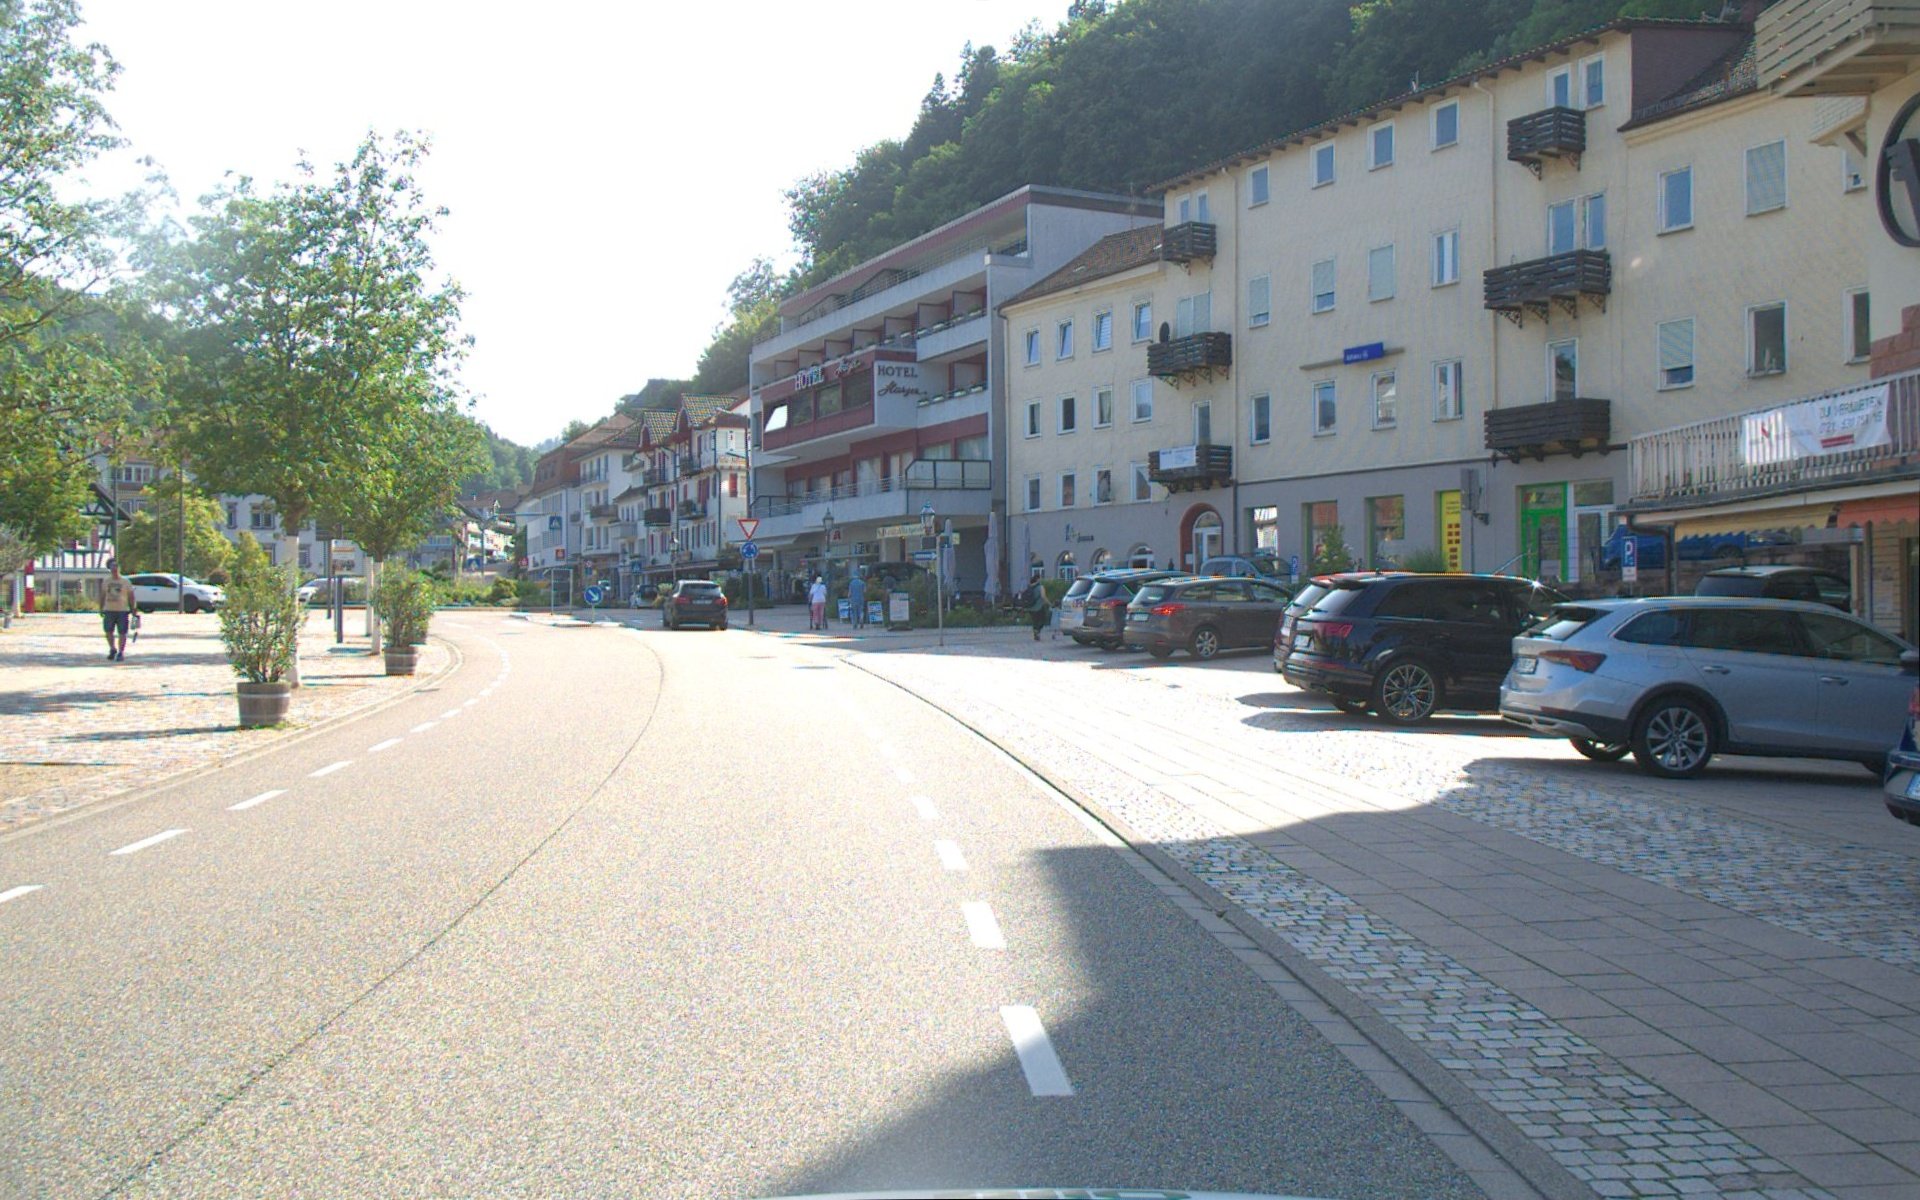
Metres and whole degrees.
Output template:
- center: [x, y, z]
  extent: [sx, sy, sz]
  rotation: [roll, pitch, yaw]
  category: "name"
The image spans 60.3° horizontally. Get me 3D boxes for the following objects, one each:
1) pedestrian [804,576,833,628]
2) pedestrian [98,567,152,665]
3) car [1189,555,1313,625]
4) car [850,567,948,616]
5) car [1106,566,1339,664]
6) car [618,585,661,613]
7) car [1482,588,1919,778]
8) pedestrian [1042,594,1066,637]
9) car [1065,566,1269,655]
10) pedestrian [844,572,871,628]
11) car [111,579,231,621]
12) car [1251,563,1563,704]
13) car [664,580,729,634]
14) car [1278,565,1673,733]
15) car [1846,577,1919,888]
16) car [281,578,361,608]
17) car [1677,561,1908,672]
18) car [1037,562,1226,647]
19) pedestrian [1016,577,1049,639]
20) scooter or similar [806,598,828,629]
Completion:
- center: [-4.501, 0.066, 52.538]
  extent: [0.747, 1.621, 0.623]
  rotation: [0, 0, -23]
  category: "pedestrian"
- center: [-16.052, 0.298, 31.803]
  extent: [0.855, 1.847, 0.686]
  rotation: [0, 0, -22]
  category: "pedestrian"
- center: [8.902, -0.342, 50.862]
  extent: [1.839, 2.048, 3.639]
  rotation: [0, 2, -31]
  category: "car"
- center: [-2.137, -0.306, 57.944]
  extent: [3.118, 1.692, 1.584]
  rotation: [0, 0, -21]
  category: "car"
- center: [4.914, 0.232, 31.012]
  extent: [3.953, 1.542, 1.762]
  rotation: [-4, 2, -21]
  category: "car"
- center: [-19.533, -0.072, 100.708]
  extent: [1.655, 1.649, 3.969]
  rotation: [0, 0, -25]
  category: "car"
- center: [6.895, 0.696, 14.239]
  extent: [4.266, 1.486, 1.773]
  rotation: [1, -1, 2]
  category: "car"
- center: [2.279, 0.376, 40.139]
  extent: [0.408, 1.019, 0.531]
  rotation: [-2, 0, 18]
  category: "pedestrian"
- center: [4.306, 0.176, 34.443]
  extent: [3.806, 1.576, 1.762]
  rotation: [-4, 2, -21]
  category: "car"
- center: [-3.243, -0.002, 52.233]
  extent: [0.660, 1.759, 0.702]
  rotation: [0, 0, -23]
  category: "pedestrian"
- center: [-31.848, -0.005, 66.797]
  extent: [4.080, 1.644, 1.691]
  rotation: [0, 0, 7]
  category: "car"
- center: [6.160, 0.435, 23.114]
  extent: [3.830, 1.730, 1.773]
  rotation: [2, 1, 0]
  category: "car"
- center: [-8.529, 0.178, 53.314]
  extent: [1.699, 1.602, 3.738]
  rotation: [0, 2, -15]
  category: "car"
- center: [5.892, 0.538, 19.234]
  extent: [4.001, 1.695, 1.772]
  rotation: [2, 0, 0]
  category: "car"
- center: [6.518, 0.715, 7.698]
  extent: [3.830, 1.486, 1.736]
  rotation: [2, 0, 0]
  category: "car"
- center: [-31.601, -0.327, 81.893]
  extent: [1.648, 1.445, 4.186]
  rotation: [0, 0, 13]
  category: "car"
- center: [13.646, 0.214, 27.063]
  extent: [3.875, 1.637, 1.752]
  rotation: [-2, 2, -34]
  category: "car"
- center: [3.857, 0.071, 37.240]
  extent: [3.806, 1.640, 1.762]
  rotation: [-4, 2, -21]
  category: "car"
- center: [1.763, 0.186, 40.337]
  extent: [0.720, 1.467, 0.633]
  rotation: [-2, 0, 1]
  category: "pedestrian"
- center: [-4.571, 0.431, 52.701]
  extent: [0.588, 0.967, 0.471]
  rotation: [0, 0, -23]
  category: "scooter or similar"
